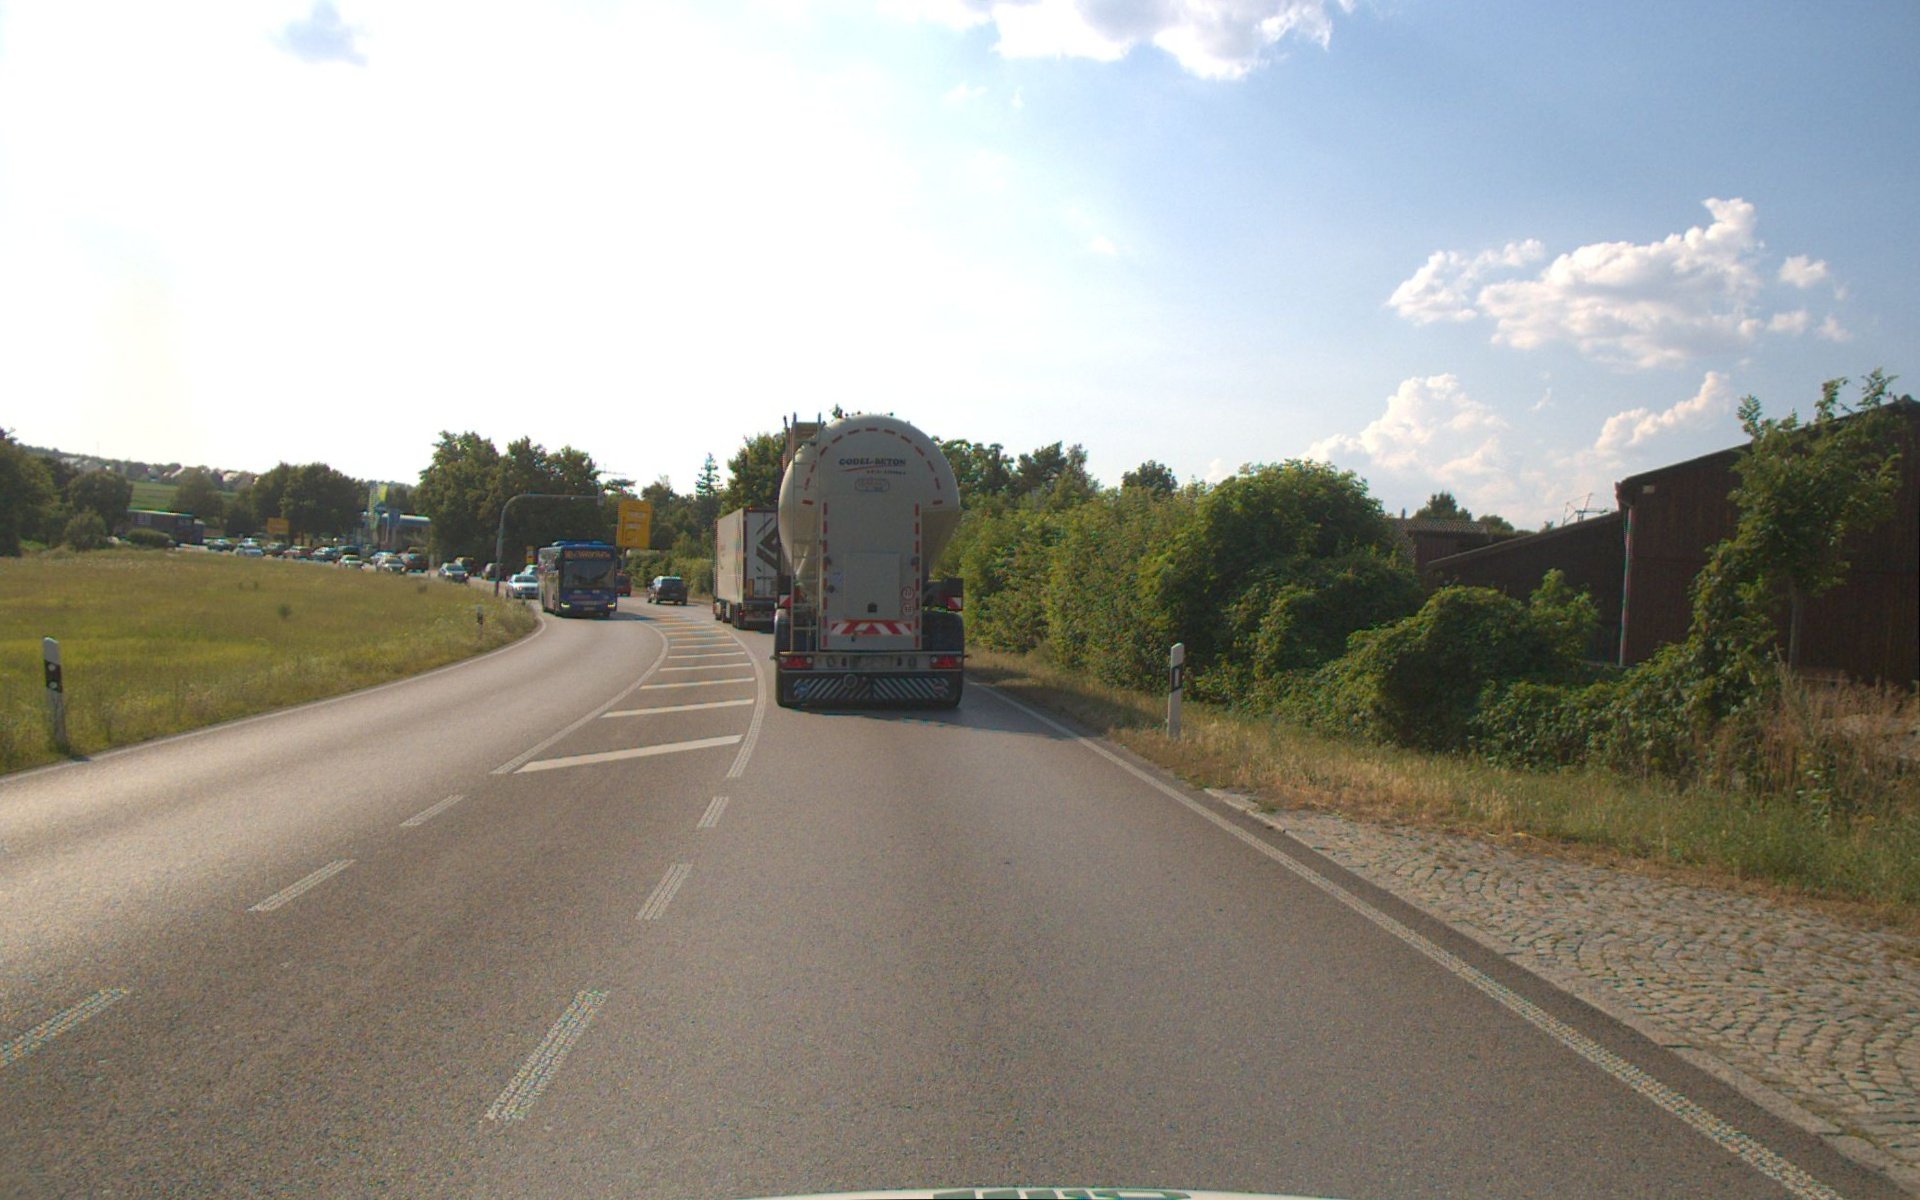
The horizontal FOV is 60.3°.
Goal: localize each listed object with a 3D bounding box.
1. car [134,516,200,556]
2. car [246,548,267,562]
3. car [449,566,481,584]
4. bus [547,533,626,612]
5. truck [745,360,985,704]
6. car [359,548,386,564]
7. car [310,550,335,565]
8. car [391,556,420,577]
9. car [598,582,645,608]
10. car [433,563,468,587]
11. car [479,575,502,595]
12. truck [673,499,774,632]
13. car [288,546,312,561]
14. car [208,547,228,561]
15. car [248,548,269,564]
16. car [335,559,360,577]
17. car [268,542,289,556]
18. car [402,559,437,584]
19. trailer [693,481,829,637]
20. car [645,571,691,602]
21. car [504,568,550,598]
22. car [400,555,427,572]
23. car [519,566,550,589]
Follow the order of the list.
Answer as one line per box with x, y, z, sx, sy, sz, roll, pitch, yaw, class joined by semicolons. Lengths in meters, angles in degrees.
-105.685;-8.552;220.254;13.020;5.147;3.528;2;1;44;car
-87.089;-5.607;204.730;1.861;1.627;3.962;2;1;-29;car
-47.699;-2.391;159.322;2.063;1.627;3.961;2;1;-29;car
-17.080;-1.112;75.069;2.749;3.237;12.072;2;-1;-16;bus
-1.747;-0.802;26.625;2.918;4.248;11.647;1;-1;-6;truck
-63.689;-4.752;179.307;2.063;1.627;3.961;2;1;-29;car
-72.781;-4.821;188.810;2.063;1.627;3.961;2;1;-29;car
-48.427;-2.953;144.377;1.968;1.755;4.392;1;1;-25;car
-22.617;-0.330;110.518;2.268;1.685;4.385;2;-1;-22;car
-38.294;-1.878;124.290;1.820;1.685;3.964;2;-1;-28;car
-41.614;-1.304;146.602;1.498;1.685;3.846;2;-1;-22;car
-9.464;-1.281;65.642;2.916;4.972;6.399;2;-1;-17;truck
-77.315;-5.470;193.682;1.864;1.627;3.956;2;1;-32;car
-93.416;-5.826;208.212;1.863;1.627;3.958;2;1;-31;car
-79.077;-4.978;186.447;1.821;1.685;3.962;2;-1;-29;car
-59.268;-3.081;160.023;1.820;1.685;3.964;2;-1;-28;car
-81.632;-6.089;198.224;1.861;1.627;3.962;2;1;-29;car
-39.448;-2.057;120.689;1.820;1.685;3.964;2;-1;-28;car
-7.222;-1.292;58.425;2.917;4.967;10.238;2;-1;-17;trailer
-16.564;-0.743;93.810;1.963;1.685;3.978;2;-1;-19;car
-25.701;-0.996;98.047;1.820;1.685;3.964;2;-1;-27;car
-54.312;-3.647;164.283;1.861;1.627;3.962;2;1;-29;car
-33.556;-1.745;130.512;1.816;1.685;3.972;2;-1;-22;car
